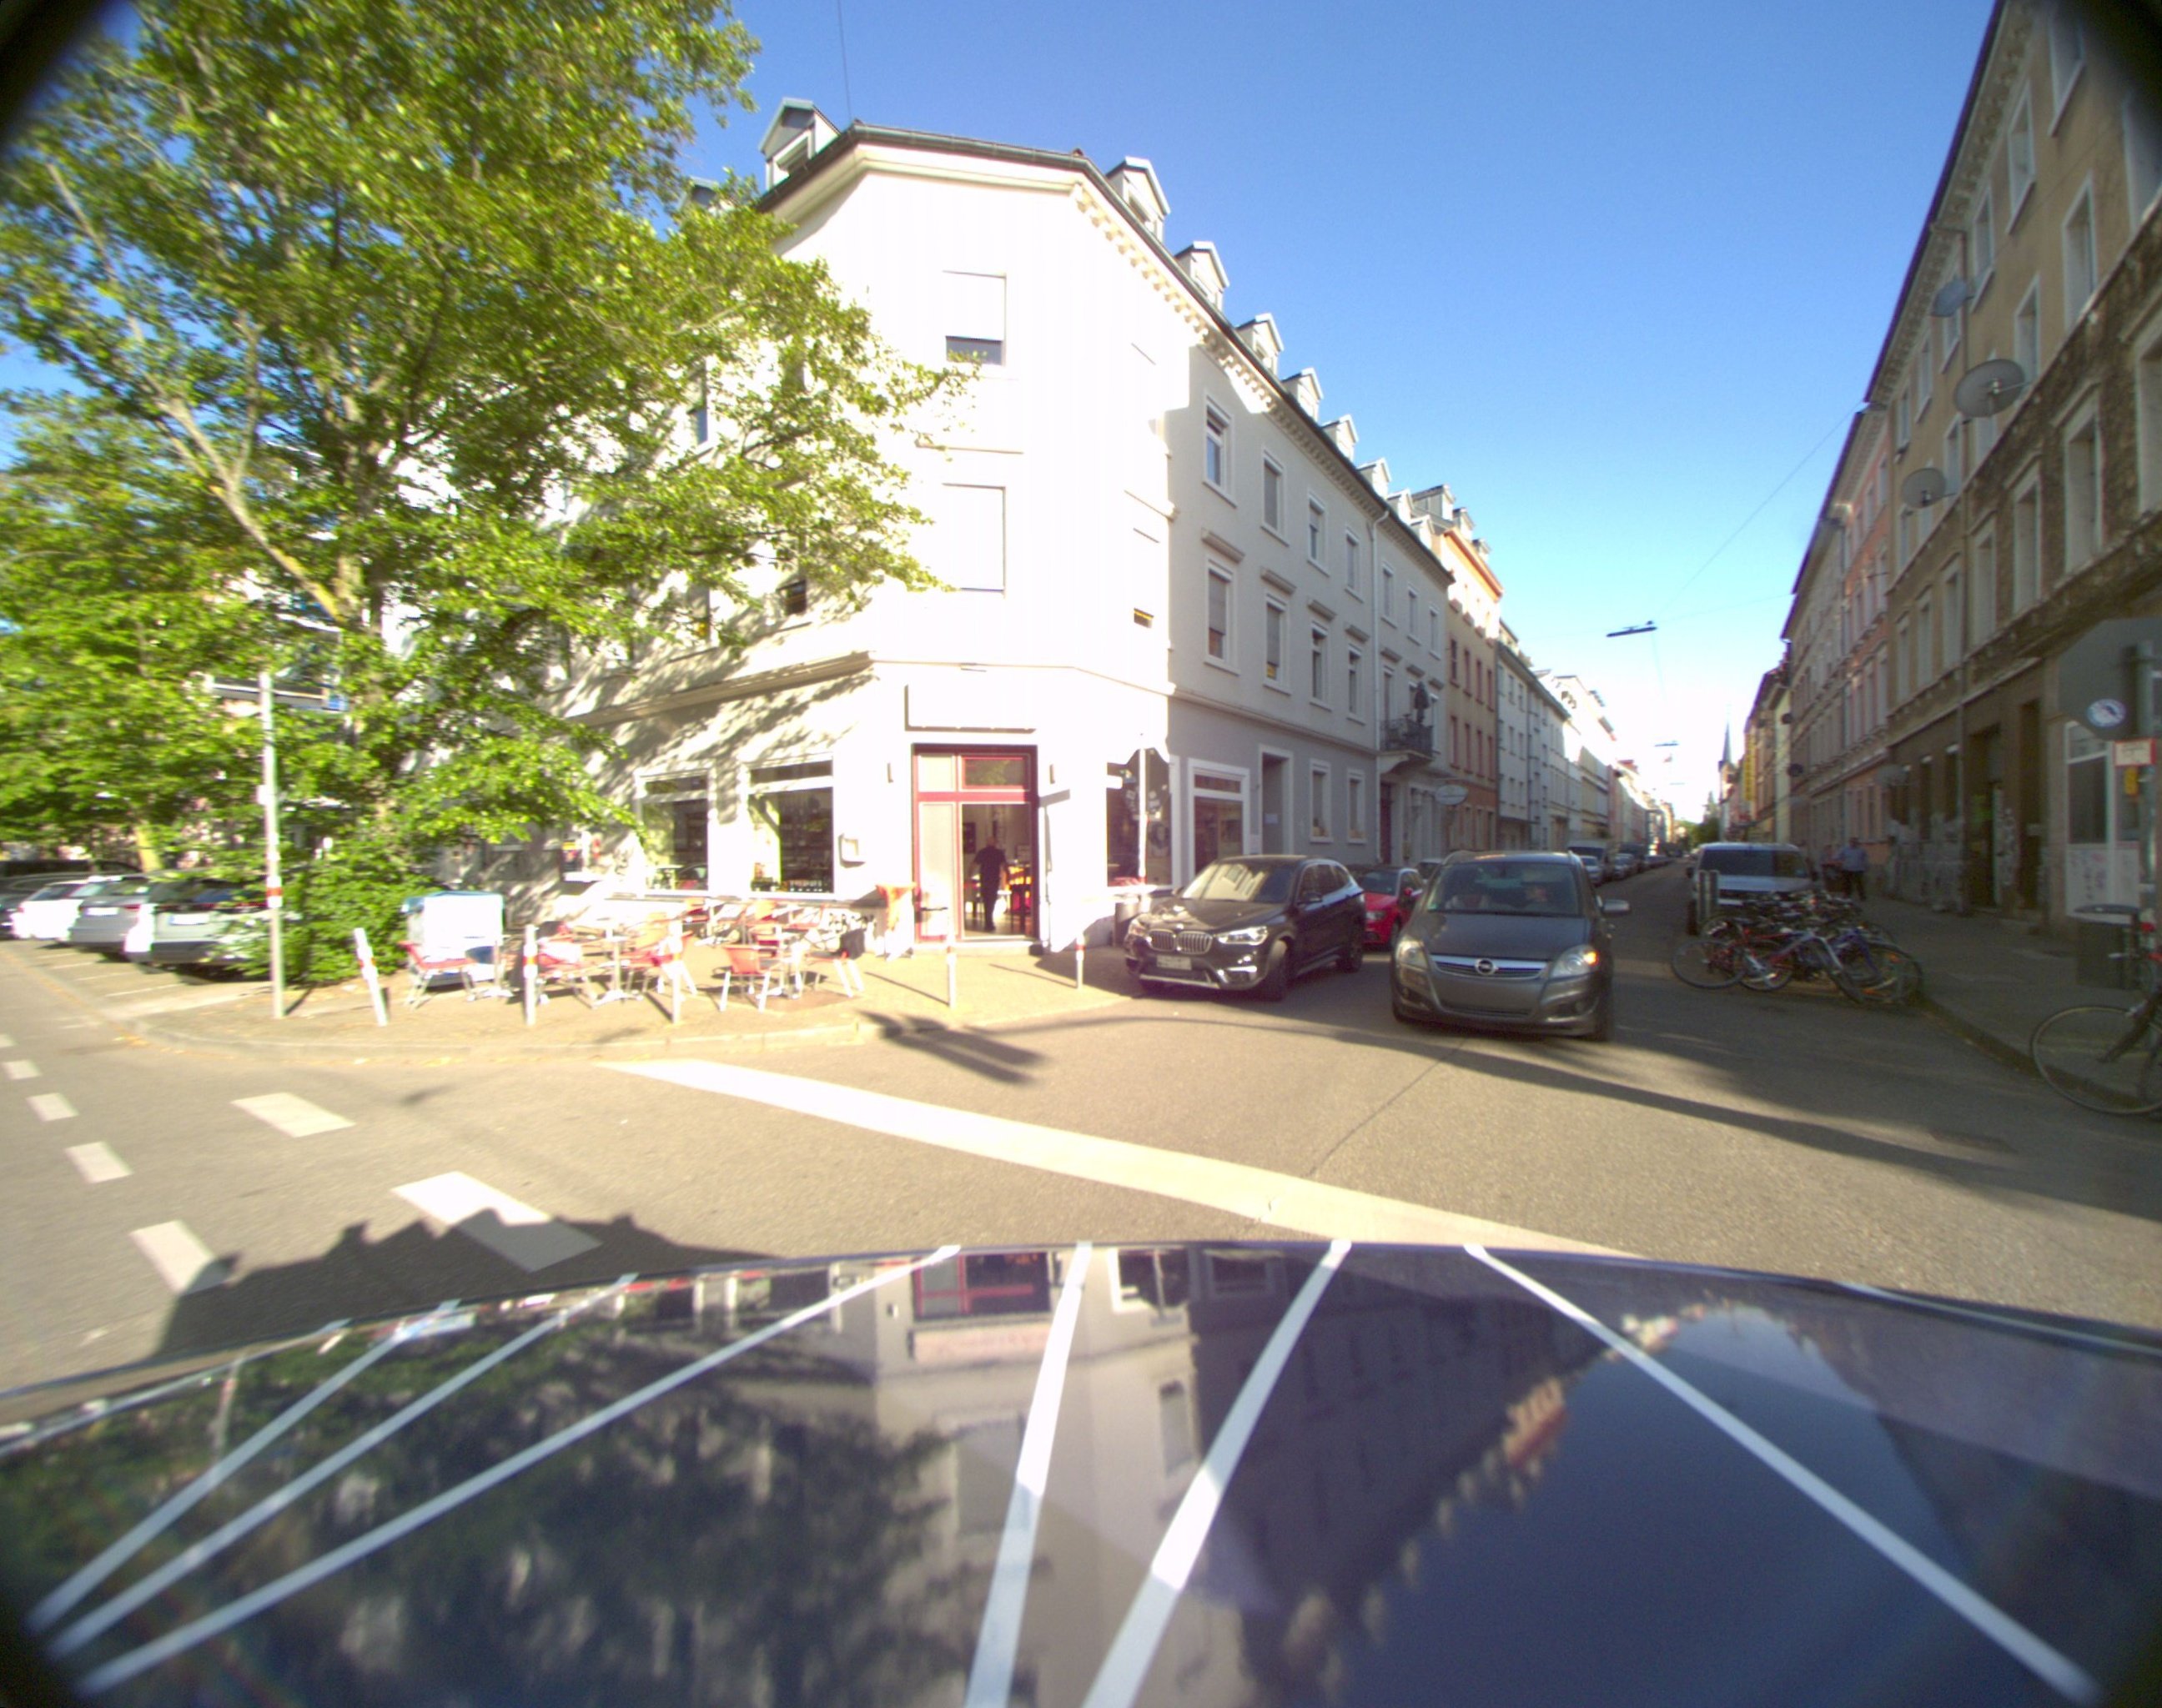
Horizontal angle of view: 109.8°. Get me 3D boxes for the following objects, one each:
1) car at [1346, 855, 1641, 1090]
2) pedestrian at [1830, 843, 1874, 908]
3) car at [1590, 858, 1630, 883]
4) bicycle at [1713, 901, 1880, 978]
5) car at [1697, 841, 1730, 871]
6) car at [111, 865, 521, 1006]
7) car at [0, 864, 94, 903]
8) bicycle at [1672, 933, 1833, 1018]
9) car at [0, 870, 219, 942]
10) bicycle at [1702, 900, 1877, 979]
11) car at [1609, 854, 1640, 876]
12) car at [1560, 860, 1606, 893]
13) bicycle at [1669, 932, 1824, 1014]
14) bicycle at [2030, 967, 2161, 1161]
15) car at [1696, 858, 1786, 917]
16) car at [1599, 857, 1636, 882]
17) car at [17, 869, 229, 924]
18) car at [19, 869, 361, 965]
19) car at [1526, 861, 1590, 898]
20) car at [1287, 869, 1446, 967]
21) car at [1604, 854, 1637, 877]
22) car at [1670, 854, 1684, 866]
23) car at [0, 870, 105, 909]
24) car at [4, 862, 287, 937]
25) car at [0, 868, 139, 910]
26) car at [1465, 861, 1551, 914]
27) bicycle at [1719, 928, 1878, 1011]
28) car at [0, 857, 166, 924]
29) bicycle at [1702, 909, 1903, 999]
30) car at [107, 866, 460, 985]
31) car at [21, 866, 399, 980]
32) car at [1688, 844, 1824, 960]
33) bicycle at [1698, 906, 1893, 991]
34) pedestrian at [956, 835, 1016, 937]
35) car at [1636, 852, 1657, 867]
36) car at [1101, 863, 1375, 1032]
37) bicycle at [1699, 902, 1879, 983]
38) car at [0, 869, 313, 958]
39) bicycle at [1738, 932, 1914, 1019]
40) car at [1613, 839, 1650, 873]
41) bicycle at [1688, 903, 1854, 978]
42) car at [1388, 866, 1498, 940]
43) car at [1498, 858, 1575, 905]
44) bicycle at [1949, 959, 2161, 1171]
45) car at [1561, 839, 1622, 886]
[{"bbox_3d":[4.618,0.872,7.979,1.795,1.652,5.195,-2,-1,39],"label":"car"},{"bbox_3d":[22.057,0.625,21.754,0.789,1.820,0.596,-2,-1,40],"label":"pedestrian"},{"bbox_3d":[32.794,1.021,47.088,1.680,1.434,3.868,-2,-1,39],"label":"car"},{"bbox_3d":[10.513,1.226,11.243,1.765,0.983,0.464,0,0,38],"label":"bicycle"},{"bbox_3d":[57.049,0.162,68.604,2.089,2.576,5.855,0,0,38],"label":"car"},{"bbox_3d":[-10.947,1.028,11.402,1.618,1.547,4.137,0,1,8],"label":"car"},{"bbox_3d":[-50.409,1.399,35.981,1.617,1.653,4.140,0,2,17],"label":"car"},{"bbox_3d":[7.498,1.335,8.542,1.309,0.813,0.372,0,0,30],"label":"bicycle"},{"bbox_3d":[-25.434,1.245,19.601,1.619,1.480,4.134,0,1,0],"label":"car"},{"bbox_3d":[9.875,1.165,10.674,1.765,0.956,0.423,0,0,38],"label":"bicycle"},{"bbox_3d":[42.289,0.812,59.096,1.680,1.625,3.868,-2,-1,39],"label":"car"},{"bbox_3d":[25.201,1.119,38.094,1.680,1.549,3.868,-2,-1,36],"label":"car"},{"bbox_3d":[7.707,1.363,8.857,1.309,0.813,0.356,0,0,30],"label":"bicycle"},{"bbox_3d":[6.504,1.258,4.186,0.450,1.039,1.664,0,0,-1],"label":"bicycle"},{"bbox_3d":[18.840,0.883,21.853,1.679,1.465,4.212,2,2,38],"label":"car"},{"bbox_3d":[35.895,1.003,50.801,1.680,1.555,3.868,-2,-1,40],"label":"car"},{"bbox_3d":[-30.933,1.306,24.776,1.619,1.480,4.134,0,1,0],"label":"car"},{"bbox_3d":[-17.651,1.142,15.381,1.616,1.480,4.141,0,2,19],"label":"car"},{"bbox_3d":[19.976,1.025,31.741,1.768,1.386,4.504,-2,-1,38],"label":"car"},{"bbox_3d":[5.427,1.075,14.153,1.646,1.494,3.963,-2,-1,38],"label":"car"},{"bbox_3d":[39.021,0.809,54.926,1.680,1.511,3.868,-2,-1,39],"label":"car"},{"bbox_3d":[103.632,1.021,132.083,1.680,2.077,4.168,-2,-1,39],"label":"car"},{"bbox_3d":[-45.486,1.506,32.549,1.617,1.480,4.140,0,2,17],"label":"car"},{"bbox_3d":[-22.957,1.026,18.874,1.616,1.480,4.142,1,2,27],"label":"car"},{"bbox_3d":[-41.692,1.402,30.829,1.615,1.480,4.143,1,2,32],"label":"car"},{"bbox_3d":[13.602,1.014,24.099,1.680,1.501,4.199,-2,-1,38],"label":"car"},{"bbox_3d":[8.592,1.365,9.150,1.309,0.813,0.382,2,1,30],"label":"bicycle"},{"bbox_3d":[-33.258,1.102,24.712,1.888,1.877,4.134,0,2,0],"label":"car"},{"bbox_3d":[8.899,1.210,9.462,1.765,0.956,0.428,0,0,32],"label":"bicycle"},{"bbox_3d":[-13.136,1.059,12.983,1.619,1.547,4.134,0,1,0],"label":"car"},{"bbox_3d":[-15.171,1.070,13.635,1.617,1.547,4.139,0,2,13],"label":"car"},{"bbox_3d":[13.201,0.794,15.052,1.679,1.899,4.529,3,2,39],"label":"car"},{"bbox_3d":[9.124,1.182,9.784,1.766,0.956,0.482,0,0,27],"label":"bicycle"},{"bbox_3d":[-1.715,0.561,13.826,0.863,1.789,0.852,0,0,9],"label":"pedestrian"},{"bbox_3d":[63.426,0.605,85.172,1.680,1.588,3.868,-2,-1,39],"label":"car"},{"bbox_3d":[2.235,0.985,9.828,1.761,1.652,4.206,-2,-1,38],"label":"car"},{"bbox_3d":[9.571,1.172,10.361,1.765,0.956,0.444,0,0,38],"label":"bicycle"},{"bbox_3d":[-19.787,1.164,16.426,1.617,1.480,4.140,0,2,18],"label":"car"},{"bbox_3d":[8.565,1.380,8.796,1.387,0.813,0.362,2,1,30],"label":"bicycle"},{"bbox_3d":[46.266,0.174,63.830,2.046,2.661,6.199,-2,-1,39],"label":"car"},{"bbox_3d":[9.992,1.229,11.086,1.765,0.956,0.406,0,0,38],"label":"bicycle"},{"bbox_3d":[8.982,1.128,18.704,1.637,1.577,3.796,-2,-1,38],"label":"car"},{"bbox_3d":[17.032,0.977,28.315,1.680,1.587,4.199,-2,-1,41],"label":"car"},{"bbox_3d":[6.029,1.189,4.204,0.458,1.039,1.688,0,-2,-1],"label":"bicycle"},{"bbox_3d":[29.268,0.449,43.452,2.046,2.497,6.036,-2,-1,41],"label":"car"}]
